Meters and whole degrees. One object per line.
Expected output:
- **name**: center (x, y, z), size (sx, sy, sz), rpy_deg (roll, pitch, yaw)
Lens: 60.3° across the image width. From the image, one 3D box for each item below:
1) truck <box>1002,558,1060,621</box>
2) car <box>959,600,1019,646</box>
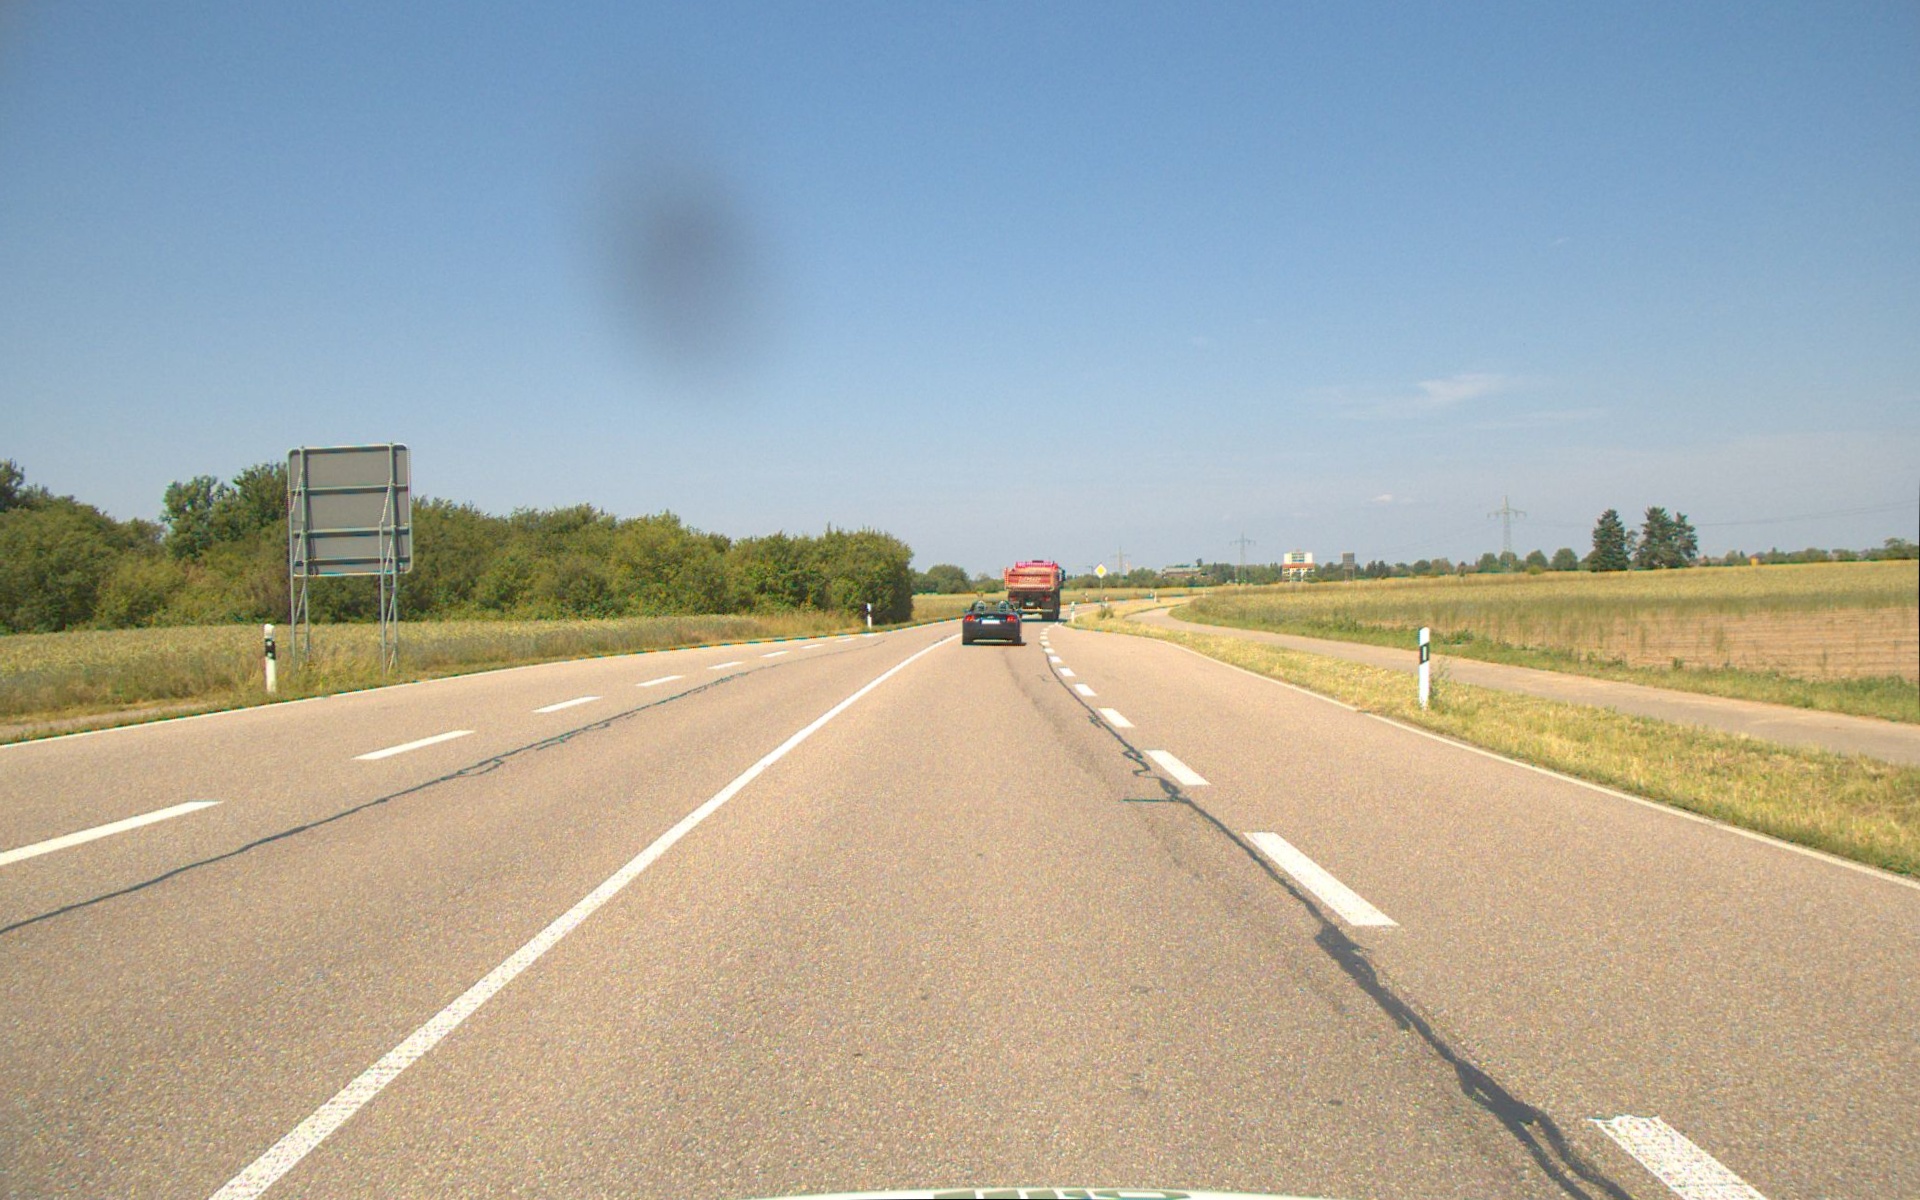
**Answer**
- **truck**: center (3.695, -0.525, 86.202), size (2.877, 3.143, 7.198), rpy_deg (-1, 0, 2)
- **car**: center (0.825, 0.670, 49.784), size (1.708, 1.302, 4.000), rpy_deg (0, 0, 0)
